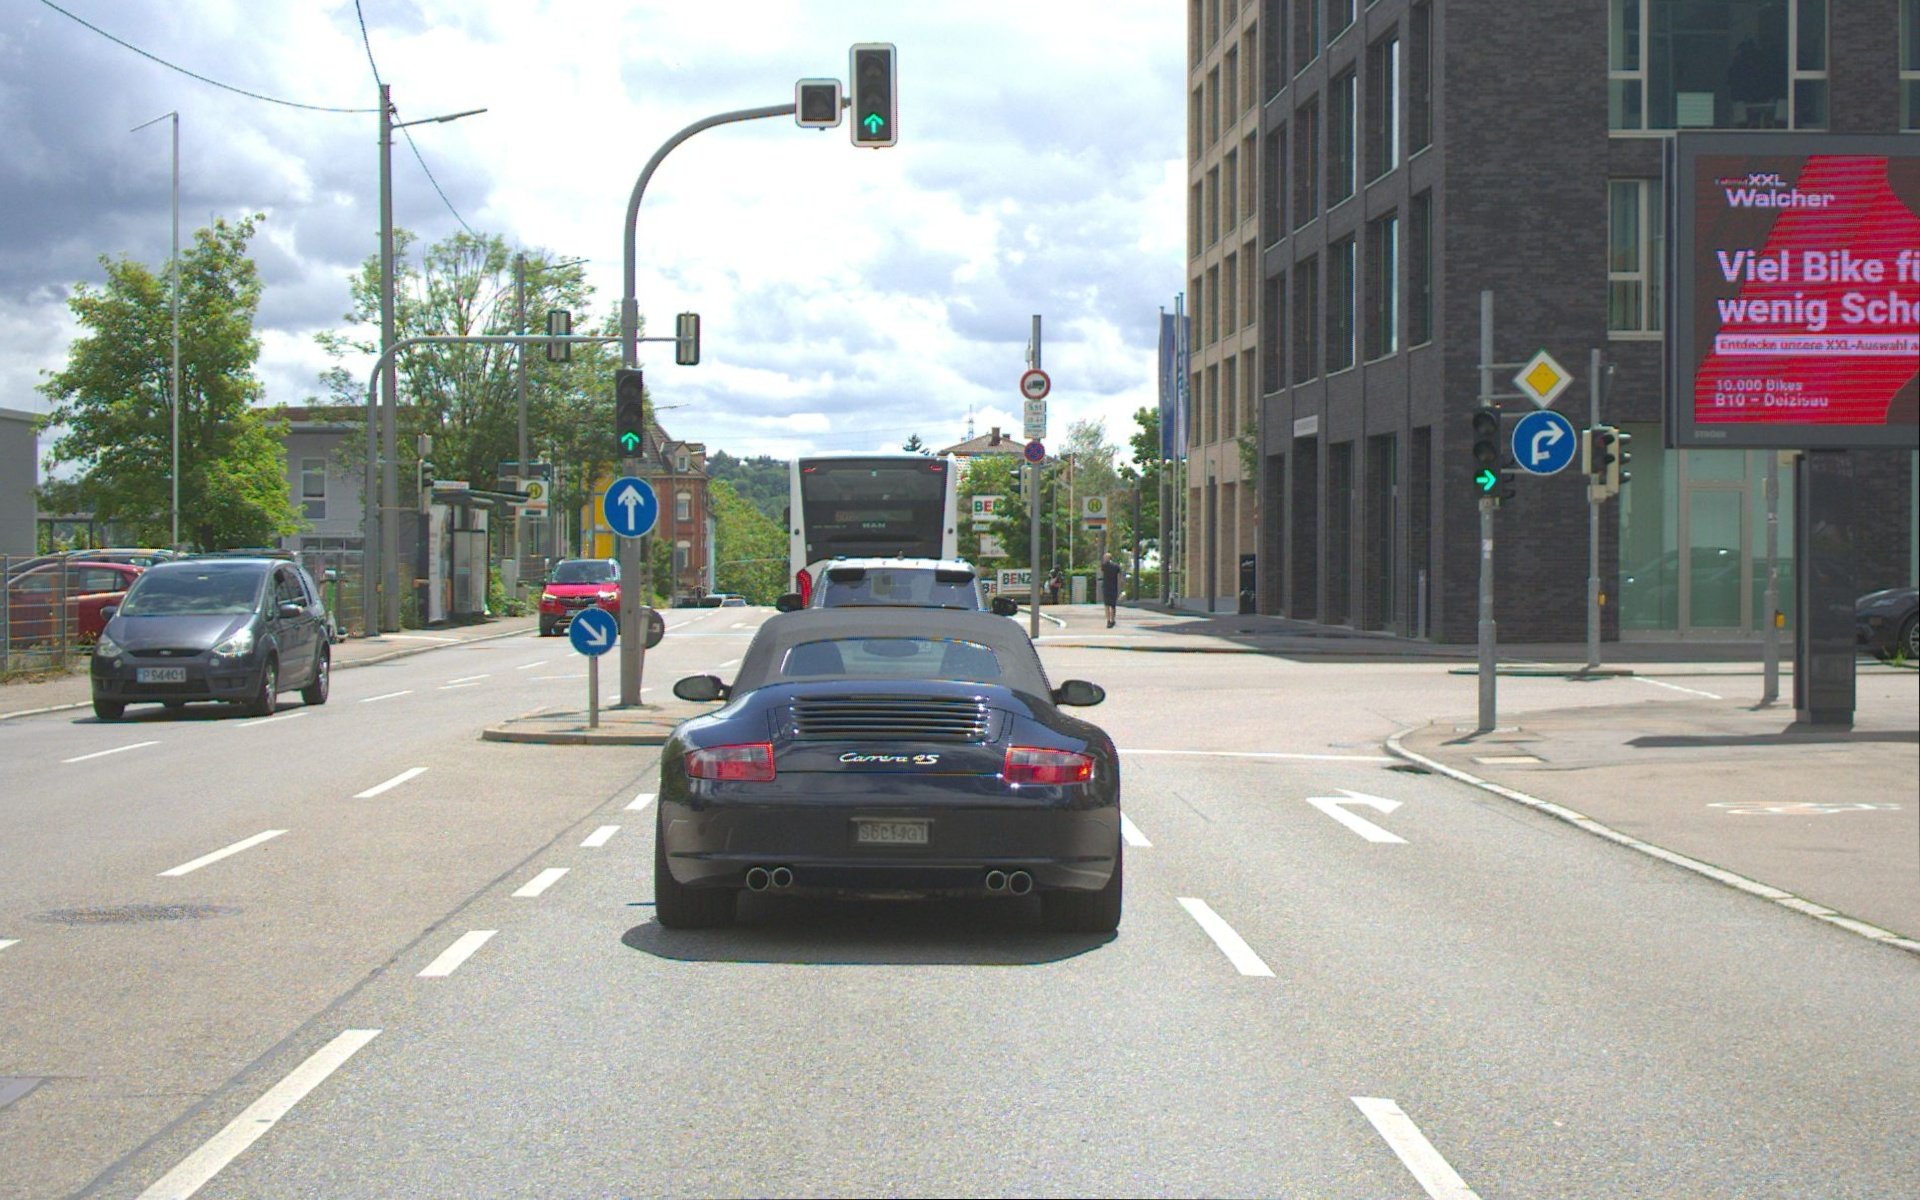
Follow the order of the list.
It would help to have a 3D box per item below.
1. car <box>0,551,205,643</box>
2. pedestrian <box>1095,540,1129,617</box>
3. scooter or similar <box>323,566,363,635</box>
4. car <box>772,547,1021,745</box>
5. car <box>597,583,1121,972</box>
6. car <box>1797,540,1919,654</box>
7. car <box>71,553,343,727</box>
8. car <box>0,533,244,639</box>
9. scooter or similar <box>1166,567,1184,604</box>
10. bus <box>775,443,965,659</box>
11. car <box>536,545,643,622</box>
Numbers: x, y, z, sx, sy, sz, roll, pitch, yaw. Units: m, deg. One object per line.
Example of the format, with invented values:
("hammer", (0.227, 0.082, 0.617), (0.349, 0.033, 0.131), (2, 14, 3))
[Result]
("car", (-13.968, -0.063, 54.431), (3.851, 1.414, 1.903), (0, 1, -10))
("pedestrian", (3.445, -0.498, 77.952), (0.683, 1.722, 0.962), (1, 1, -2))
("scooter or similar", (-11.024, 0.005, 61.437), (0.424, 1.206, 1.126), (2, 1, 3))
("car", (-0.620, 0.345, 29.720), (1.930, 1.577, 4.208), (1, 1, -4))
("car", (-0.404, 0.652, 14.870), (1.930, 1.372, 4.208), (1, 1, -1))
("car", (14.706, -0.056, 49.803), (4.639, 1.613, 2.000), (0, 1, -2))
("car", (-7.904, 0.365, 36.504), (1.911, 1.696, 4.625), (0, 1, -1))
("car", (-14.105, -0.241, 57.206), (4.102, 1.728, 2.000), (0, 1, -6))
("scooter or similar", (6.818, -0.465, 108.896), (0.427, 1.149, 1.404), (0, 0, -2))
("bus", (-1.379, -0.832, 57.319), (2.802, 3.187, 12.196), (1, 1, 0))
("car", (-7.821, -0.371, 72.870), (1.841, 1.590, 4.000), (0, 1, 0))
